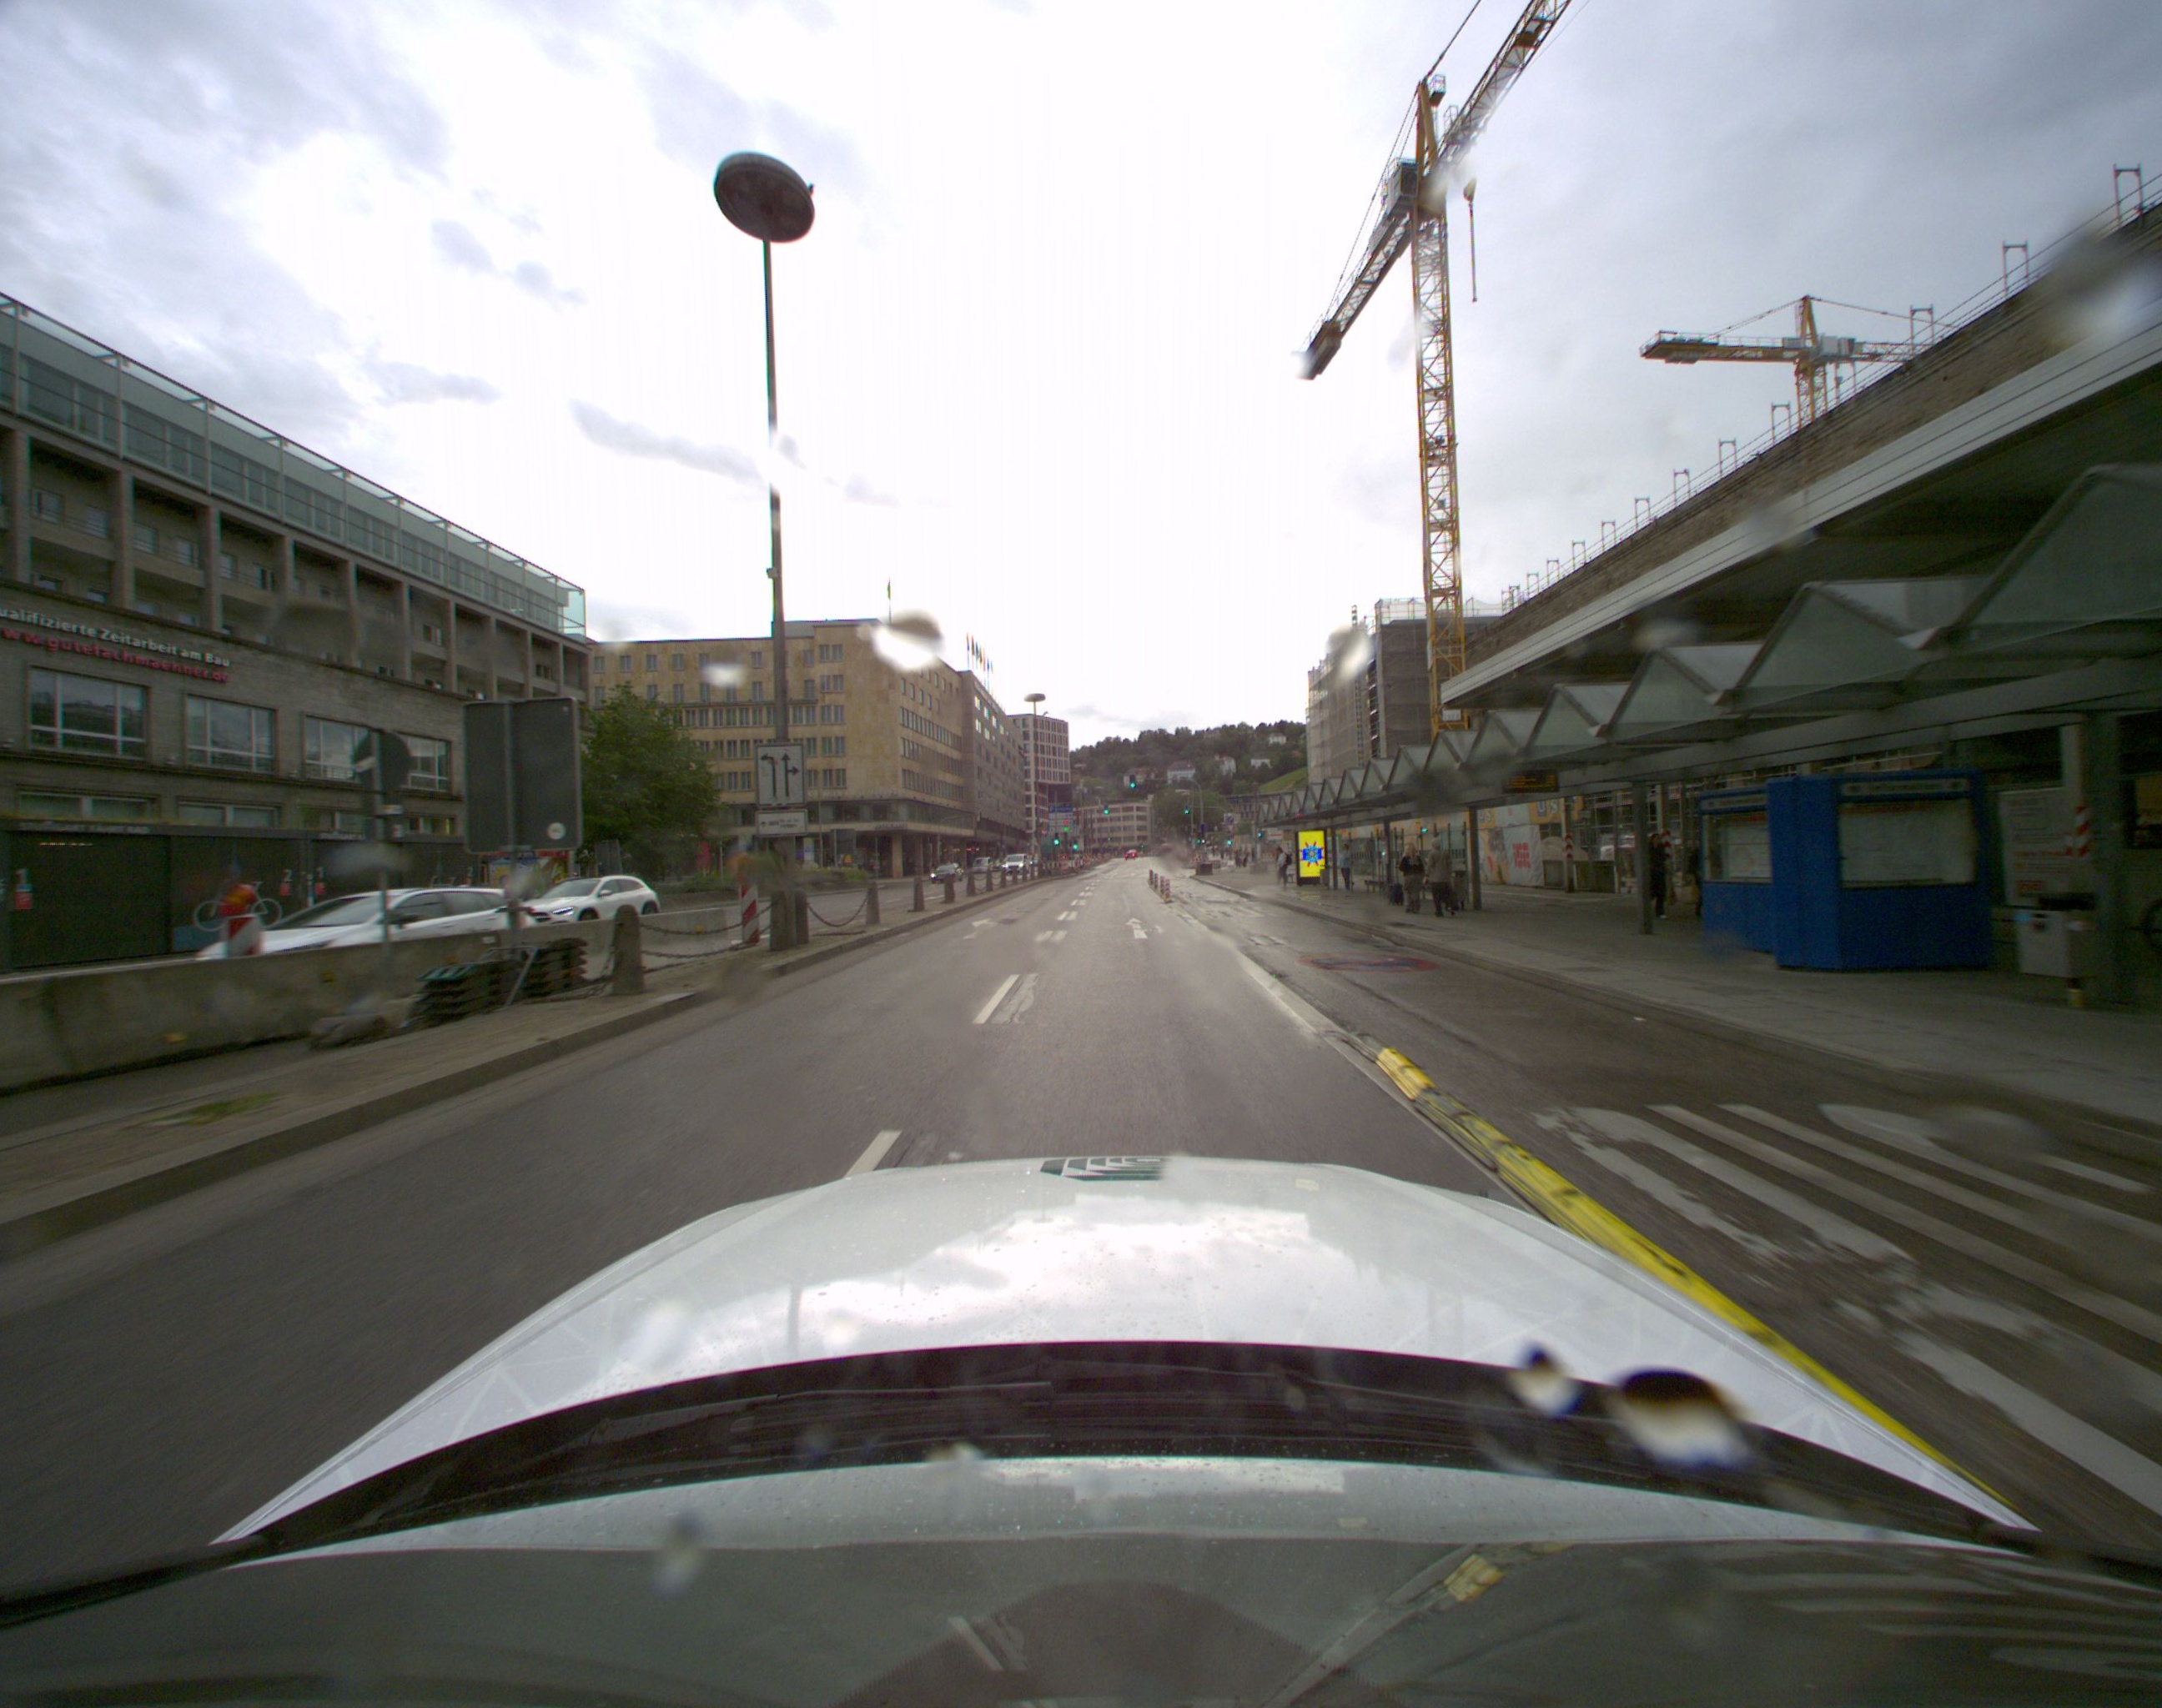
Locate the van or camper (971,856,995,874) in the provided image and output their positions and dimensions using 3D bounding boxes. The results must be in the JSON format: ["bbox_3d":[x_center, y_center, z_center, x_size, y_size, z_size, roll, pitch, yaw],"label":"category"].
[{"bbox_3d":[-11.906,1.308,99.274,1.985,2.014,4.970,-2,-1,4],"label":"van or camper"}]

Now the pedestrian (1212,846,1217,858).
[{"bbox_3d":[21.605,-0.316,131.704,0.684,1.841,0.616,-2,-1,9],"label":"pedestrian"}]

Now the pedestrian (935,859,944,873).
[{"bbox_3d":[-16.350,1.427,93.876,0.717,1.557,0.907,-2,-1,5],"label":"pedestrian"}]

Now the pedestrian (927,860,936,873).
[{"bbox_3d":[-17.214,1.434,93.749,0.717,1.557,1.007,-2,-1,5],"label":"pedestrian"}]

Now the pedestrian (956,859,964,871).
[{"bbox_3d":[-15.672,1.440,105.681,0.791,1.526,0.918,-2,-1,6],"label":"pedestrian"}]

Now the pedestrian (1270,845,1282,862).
[{"bbox_3d":[19.186,-0.080,80.196,0.767,1.608,0.860,-2,-1,-11],"label":"pedestrian"}]

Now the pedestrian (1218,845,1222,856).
[{"bbox_3d":[22.467,-0.532,131.617,0.684,1.841,0.616,-2,-1,9],"label":"pedestrian"}]

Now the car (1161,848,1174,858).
[{"bbox_3d":[14.632,-0.144,137.682,1.985,1.706,4.003,-2,-1,3],"label":"car"}]

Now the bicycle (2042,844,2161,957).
[{"bbox_3d":[12.046,0.494,8.644,0.812,1.198,2.405,-2,0,0],"label":"bicycle"}]

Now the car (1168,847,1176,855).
[{"bbox_3d":[20.756,-0.721,186.043,1.767,1.639,4.005,-3,-3,5],"label":"car"}]

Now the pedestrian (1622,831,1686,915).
[{"bbox_3d":[11.475,0.374,16.330,0.704,1.607,0.730,-3,0,2],"label":"pedestrian"}]

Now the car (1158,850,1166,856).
[{"bbox_3d":[21.123,-0.185,212.623,1.985,1.442,4.003,-1,0,2],"label":"car"}]

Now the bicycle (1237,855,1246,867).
[{"bbox_3d":[14.691,0.666,74.700,0.703,1.049,1.811,-1,0,9],"label":"bicycle"}]

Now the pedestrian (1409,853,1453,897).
[{"bbox_3d":[9.966,0.584,23.190,0.909,1.230,0.841,-1,0,2],"label":"pedestrian"}]

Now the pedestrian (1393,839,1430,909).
[{"bbox_3d":[7.547,0.449,18.625,0.519,1.566,0.729,-2,0,1],"label":"pedestrian"}]

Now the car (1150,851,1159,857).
[{"bbox_3d":[17.712,-0.062,196.582,1.812,1.442,4.003,-1,0,3],"label":"car"}]

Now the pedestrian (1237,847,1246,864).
[{"bbox_3d":[17.784,0.186,90.340,0.858,1.841,0.800,-2,0,14],"label":"pedestrian"}]

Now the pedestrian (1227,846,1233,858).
[{"bbox_3d":[22.551,-0.280,123.272,0.940,1.841,0.870,-3,-1,10],"label":"pedestrian"}]

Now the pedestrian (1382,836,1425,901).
[{"bbox_3d":[8.406,0.365,21.257,0.805,1.660,0.805,-1,0,2],"label":"pedestrian"}]

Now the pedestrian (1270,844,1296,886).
[{"bbox_3d":[8.306,0.437,33.523,0.705,1.679,0.717,-2,-1,-25],"label":"pedestrian"}]

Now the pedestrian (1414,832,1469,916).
[{"bbox_3d":[7.601,0.418,17.198,0.759,1.693,0.822,-2,0,1],"label":"pedestrian"}]

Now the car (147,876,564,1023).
[{"bbox_3d":[-10.636,1.266,12.633,1.955,1.564,4.837,-4,0,1],"label":"car"}]

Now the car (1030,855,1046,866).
[{"bbox_3d":[-6.584,1.031,125.315,1.760,1.609,4.231,-2,-1,4],"label":"car"}]

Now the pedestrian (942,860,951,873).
[{"bbox_3d":[-15.431,1.429,93.581,0.717,1.557,0.896,-2,-1,5],"label":"pedestrian"}]

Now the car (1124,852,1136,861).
[{"bbox_3d":[9.074,0.393,150.055,1.986,1.552,4.002,-2,-1,2],"label":"car"}]

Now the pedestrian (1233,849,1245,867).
[{"bbox_3d":[15.039,0.366,77.436,0.787,1.608,0.841,-3,-1,32],"label":"pedestrian"}]

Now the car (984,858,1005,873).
[{"bbox_3d":[-11.191,1.444,105.820,1.984,1.838,4.005,-2,0,5],"label":"car"}]

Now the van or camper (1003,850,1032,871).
[{"bbox_3d":[-6.282,0.645,81.122,1.984,2.014,5.195,-2,-1,5],"label":"van or camper"}]

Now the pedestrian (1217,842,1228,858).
[{"bbox_3d":[16.553,-0.513,95.186,0.937,1.841,0.953,-3,-1,34],"label":"pedestrian"}]

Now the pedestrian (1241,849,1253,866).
[{"bbox_3d":[15.723,0.341,76.977,0.787,1.608,0.841,-3,-1,33],"label":"pedestrian"}]

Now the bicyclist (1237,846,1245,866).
[{"bbox_3d":[14.687,0.184,74.753,0.699,1.845,0.970,-1,-1,9],"label":"bicyclist"}]

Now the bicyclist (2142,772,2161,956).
[{"bbox_3d":[12.032,0.095,8.485,0.820,1.981,0.818,-2,0,0],"label":"bicyclist"}]

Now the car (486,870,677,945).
[{"bbox_3d":[-13.125,1.324,21.855,1.955,1.564,4.837,-4,0,1],"label":"car"}]

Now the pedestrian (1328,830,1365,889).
[{"bbox_3d":[9.523,0.195,29.210,0.808,2.050,0.916,0,-1,-38],"label":"pedestrian"}]

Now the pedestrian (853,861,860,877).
[{"bbox_3d":[-24.061,1.639,87.248,0.696,1.644,0.647,-2,-1,-15],"label":"pedestrian"}]

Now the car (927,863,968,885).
[{"bbox_3d":[-10.552,1.546,64.743,1.984,1.617,4.984,-2,-1,5],"label":"car"}]

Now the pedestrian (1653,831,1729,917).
[{"bbox_3d":[11.679,0.381,15.614,0.902,1.607,0.745,-1,0,2],"label":"pedestrian"}]

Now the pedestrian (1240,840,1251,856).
[{"bbox_3d":[20.186,-0.750,100.182,0.955,1.841,0.857,-2,-1,-43],"label":"pedestrian"}]
